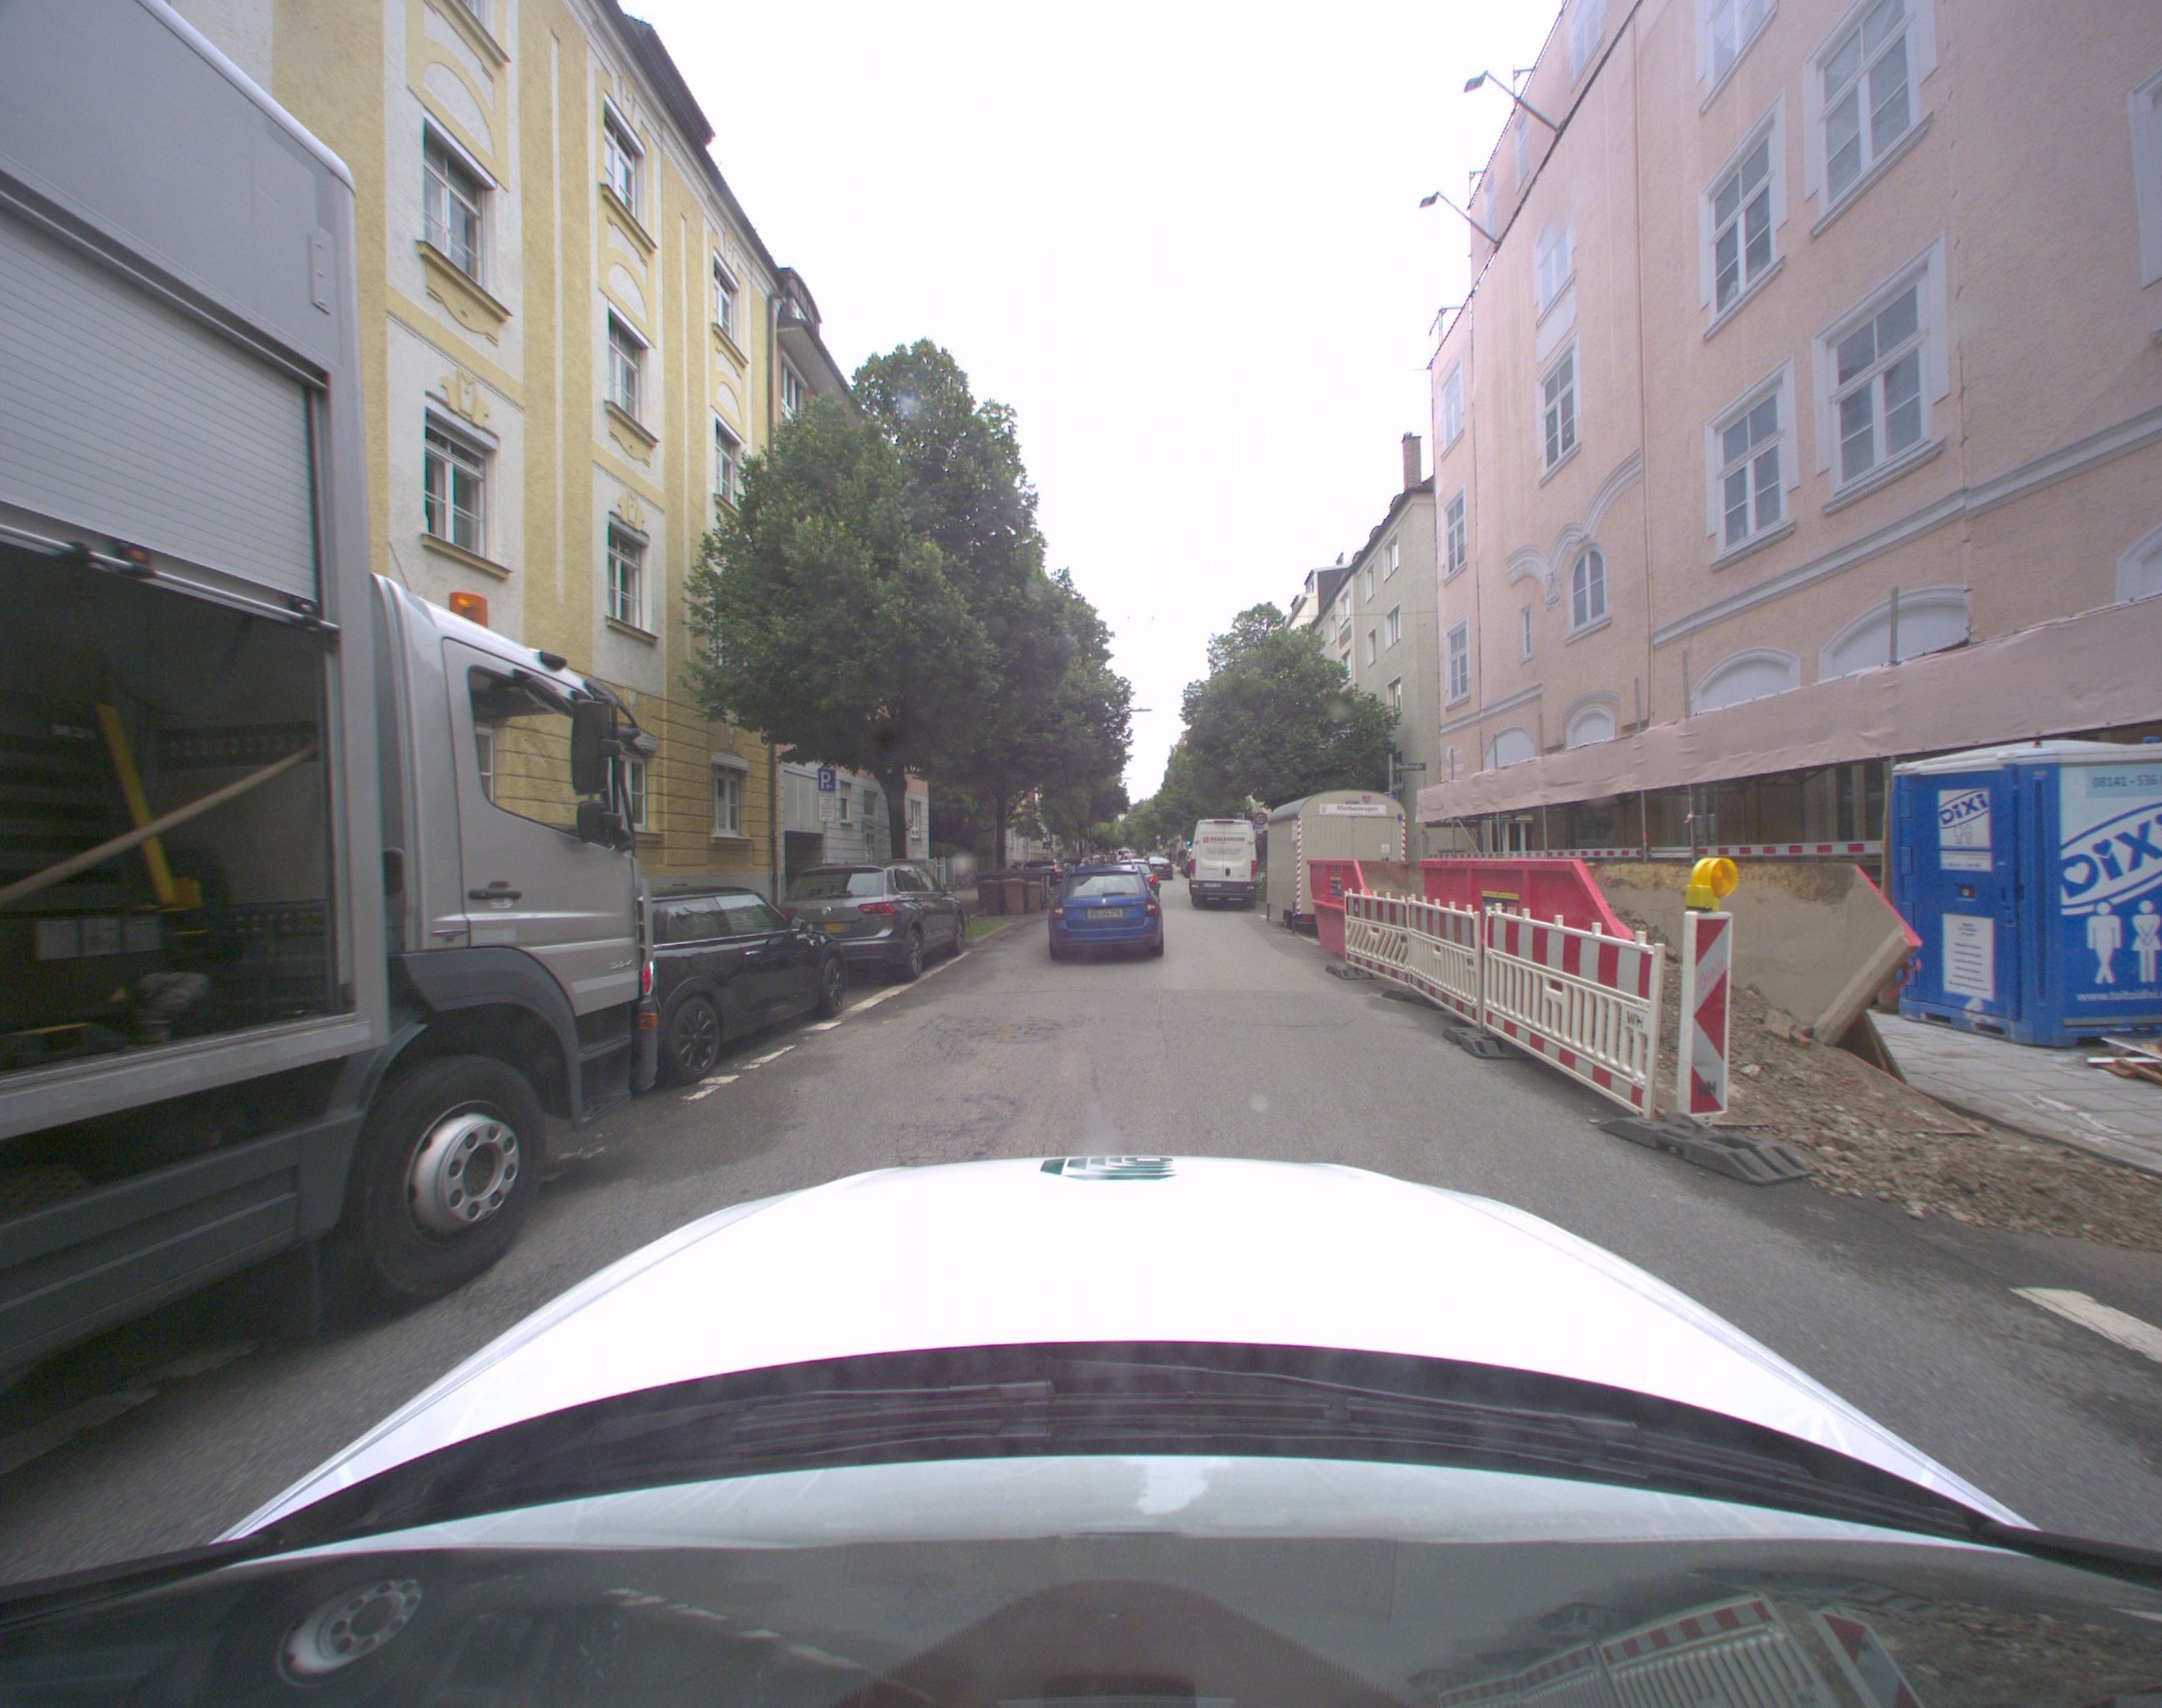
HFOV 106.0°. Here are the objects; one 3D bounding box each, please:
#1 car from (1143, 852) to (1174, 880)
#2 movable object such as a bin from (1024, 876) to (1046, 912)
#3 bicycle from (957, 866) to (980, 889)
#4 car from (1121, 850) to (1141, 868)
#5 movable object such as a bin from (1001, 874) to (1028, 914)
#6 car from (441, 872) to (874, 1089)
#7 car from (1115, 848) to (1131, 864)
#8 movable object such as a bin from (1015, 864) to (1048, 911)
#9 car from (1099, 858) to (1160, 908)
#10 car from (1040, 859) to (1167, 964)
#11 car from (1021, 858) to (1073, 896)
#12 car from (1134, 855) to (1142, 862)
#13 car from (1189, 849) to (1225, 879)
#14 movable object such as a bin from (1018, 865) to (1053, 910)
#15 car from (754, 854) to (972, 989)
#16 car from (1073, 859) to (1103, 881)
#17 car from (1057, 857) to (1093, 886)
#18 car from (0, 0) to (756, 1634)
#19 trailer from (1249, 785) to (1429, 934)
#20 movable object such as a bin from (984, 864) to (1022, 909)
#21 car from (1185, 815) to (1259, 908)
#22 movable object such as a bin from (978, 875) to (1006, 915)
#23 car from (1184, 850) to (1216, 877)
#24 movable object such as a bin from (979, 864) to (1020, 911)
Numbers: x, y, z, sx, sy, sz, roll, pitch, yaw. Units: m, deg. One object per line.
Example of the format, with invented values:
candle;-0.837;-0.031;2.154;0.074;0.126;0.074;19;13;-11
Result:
car;4.991;0.757;53.083;1.859;1.696;4.351;0;0;3
movable object such as a bin;-1.385;1.206;24.582;0.545;1.020;0.636;-3;0;0
bicycle;-5.792;1.191;41.898;0.631;1.067;2.391;-2;0;5
car;4.773;0.437;78.296;1.860;1.696;4.350;0;0;3
movable object such as a bin;-2.004;1.194;24.555;0.709;1.148;0.636;-3;0;0
car;-3.372;0.907;7.385;1.691;1.409;3.714;-1;-1;6
car;5.207;0.244;100.882;1.859;1.870;4.352;0;0;4
movable object such as a bin;-1.534;1.043;25.448;0.915;1.376;1.079;-3;0;0
car;1.571;0.848;25.263;1.732;1.422;3.669;0;-1;6
car;0.457;0.839;13.700;1.781;1.460;4.318;-1;-1;4
car;-1.334;0.891;33.278;1.805;1.478;4.002;0;0;2
car;14.885;1.071;211.906;1.860;1.739;4.350;-1;0;3
car;7.678;0.602;50.022;1.817;1.727;4.004;-2;0;4
movable object such as a bin;-1.470;1.063;26.545;1.017;1.376;1.103;-3;0;0
car;-2.992;0.850;12.185;1.776;1.628;4.190;-2;0;5
car;0.524;1.079;56.005;1.804;1.478;4.004;0;0;4
car;-0.277;0.916;43.979;1.805;1.478;4.002;0;0;2
car;-3.634;-0.358;0.536;2.800;3.818;8.731;-1;-1;4
trailer;5.681;0.143;19.153;2.491;2.840;6.908;0;-1;4
movable object such as a bin;-2.526;1.055;26.521;1.054;1.376;1.095;-3;0;0
car;4.544;0.251;26.326;2.100;2.664;5.514;0;-1;10
movable object such as a bin;-2.671;1.226;24.535;0.718;1.138;0.658;-3;0;0
car;8.159;0.621;55.959;1.817;1.727;4.004;-2;0;4
movable object such as a bin;-2.531;1.024;25.418;1.078;1.376;1.083;-3;0;0
